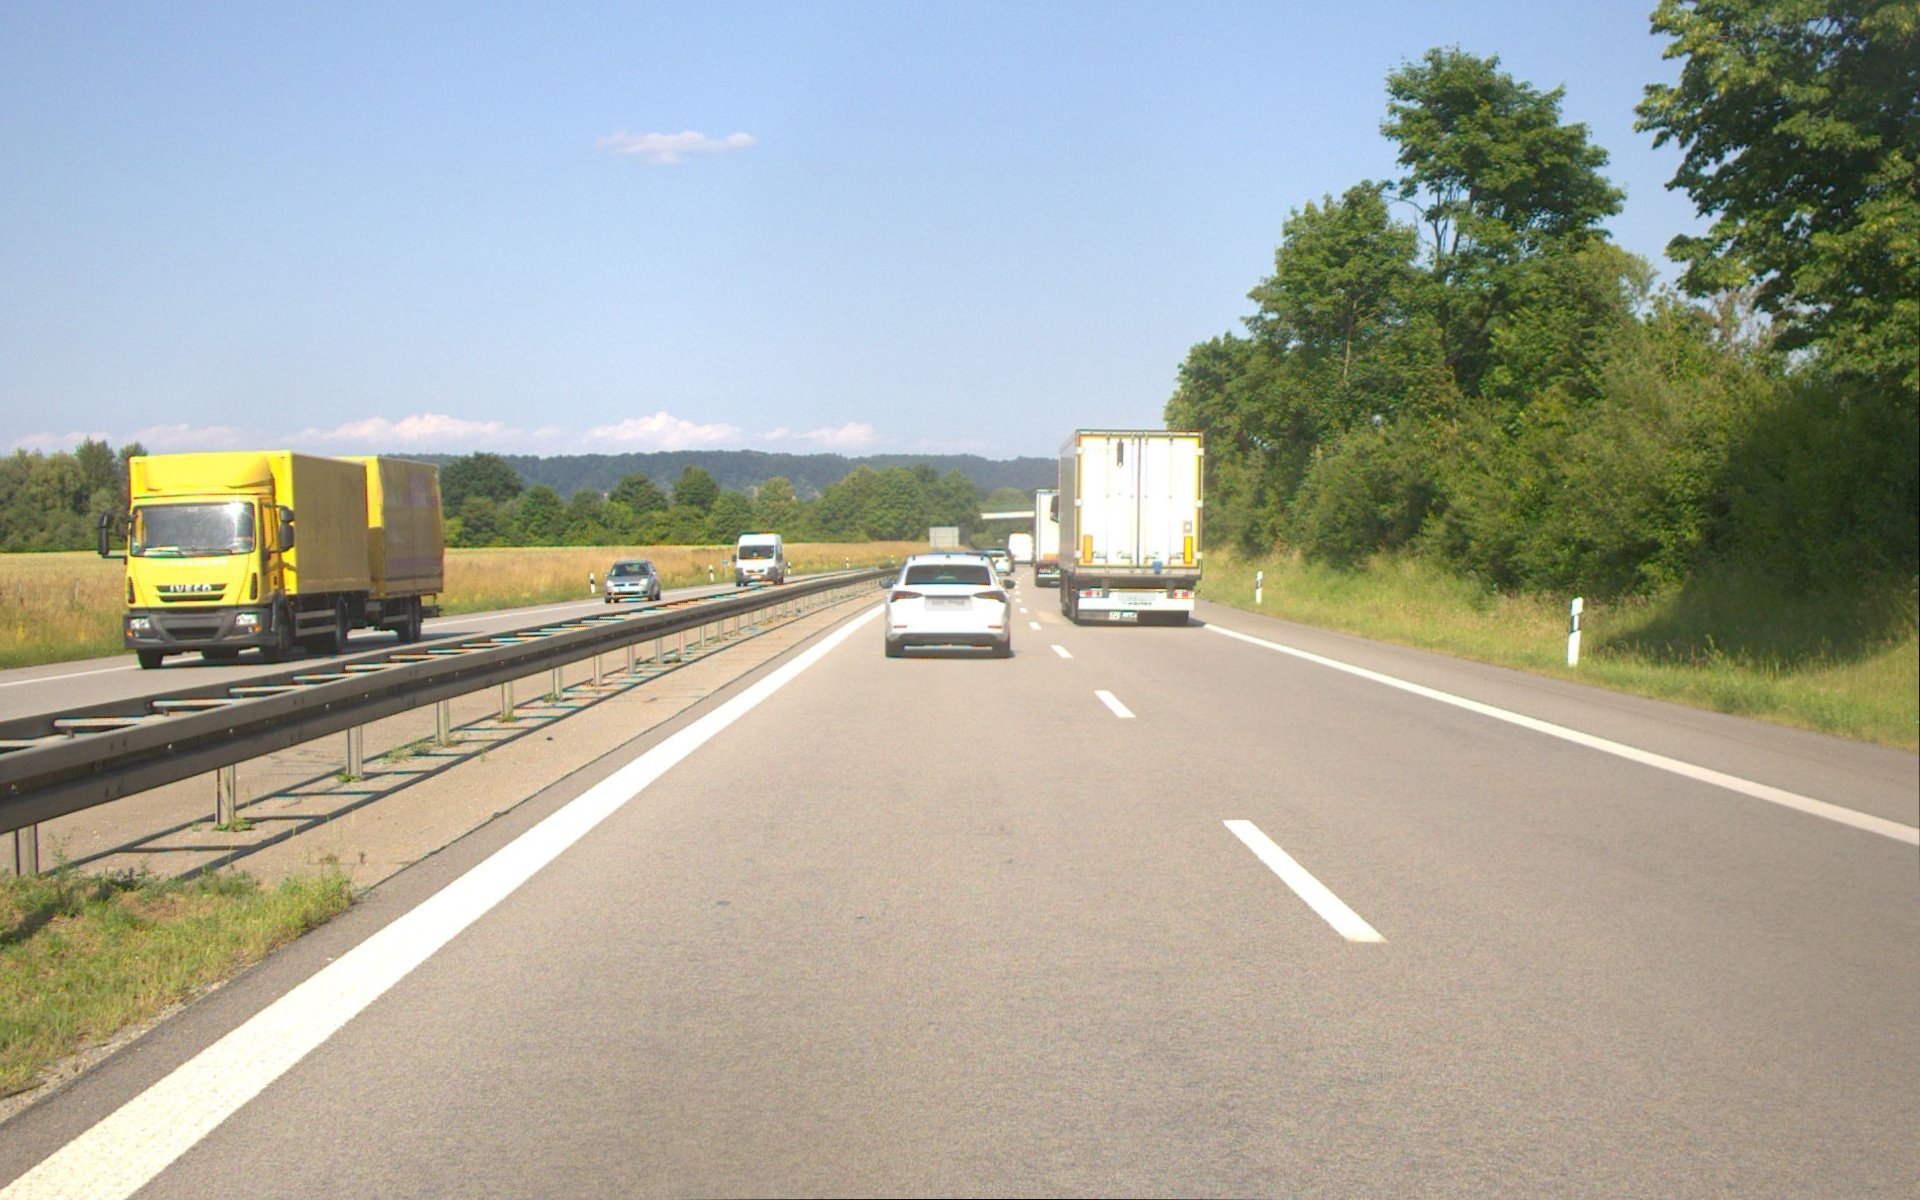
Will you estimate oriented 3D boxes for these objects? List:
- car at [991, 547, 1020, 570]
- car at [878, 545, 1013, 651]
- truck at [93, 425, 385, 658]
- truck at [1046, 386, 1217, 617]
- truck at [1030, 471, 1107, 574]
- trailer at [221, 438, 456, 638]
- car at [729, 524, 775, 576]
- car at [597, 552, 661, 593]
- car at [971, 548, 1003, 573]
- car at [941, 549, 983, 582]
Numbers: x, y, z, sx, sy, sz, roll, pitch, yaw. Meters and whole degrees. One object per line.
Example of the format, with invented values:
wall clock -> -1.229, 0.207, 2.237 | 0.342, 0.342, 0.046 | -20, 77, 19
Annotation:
car -> 2.906, -2.684, 220.403 | 1.771, 1.416, 4.365 | 1, 1, 2
car -> -0.247, -0.066, 49.995 | 1.840, 1.416, 5.255 | 1, 1, -1
truck -> -11.646, -0.958, 56.460 | 2.735, 3.371, 9.233 | -3, 1, 0
truck -> 3.548, -2.059, 73.334 | 3.152, 4.596, 8.906 | -1, 1, 0
truck -> 4.470, -3.201, 143.040 | 3.013, 4.101, 8.905 | -1, 1, 1
trailer -> -11.732, -1.171, 65.744 | 2.735, 3.448, 9.233 | -2, 1, 0
car -> -10.204, -2.468, 169.227 | 1.925, 2.467, 5.186 | -1, 1, 0
car -> -11.569, -0.975, 120.385 | 1.835, 1.371, 4.000 | -1, 1, 0
car -> 1.543, -2.274, 196.519 | 1.771, 1.416, 4.365 | 1, 1, 1
car -> 0.082, -1.522, 150.597 | 1.771, 1.416, 4.365 | 0, 1, 0
